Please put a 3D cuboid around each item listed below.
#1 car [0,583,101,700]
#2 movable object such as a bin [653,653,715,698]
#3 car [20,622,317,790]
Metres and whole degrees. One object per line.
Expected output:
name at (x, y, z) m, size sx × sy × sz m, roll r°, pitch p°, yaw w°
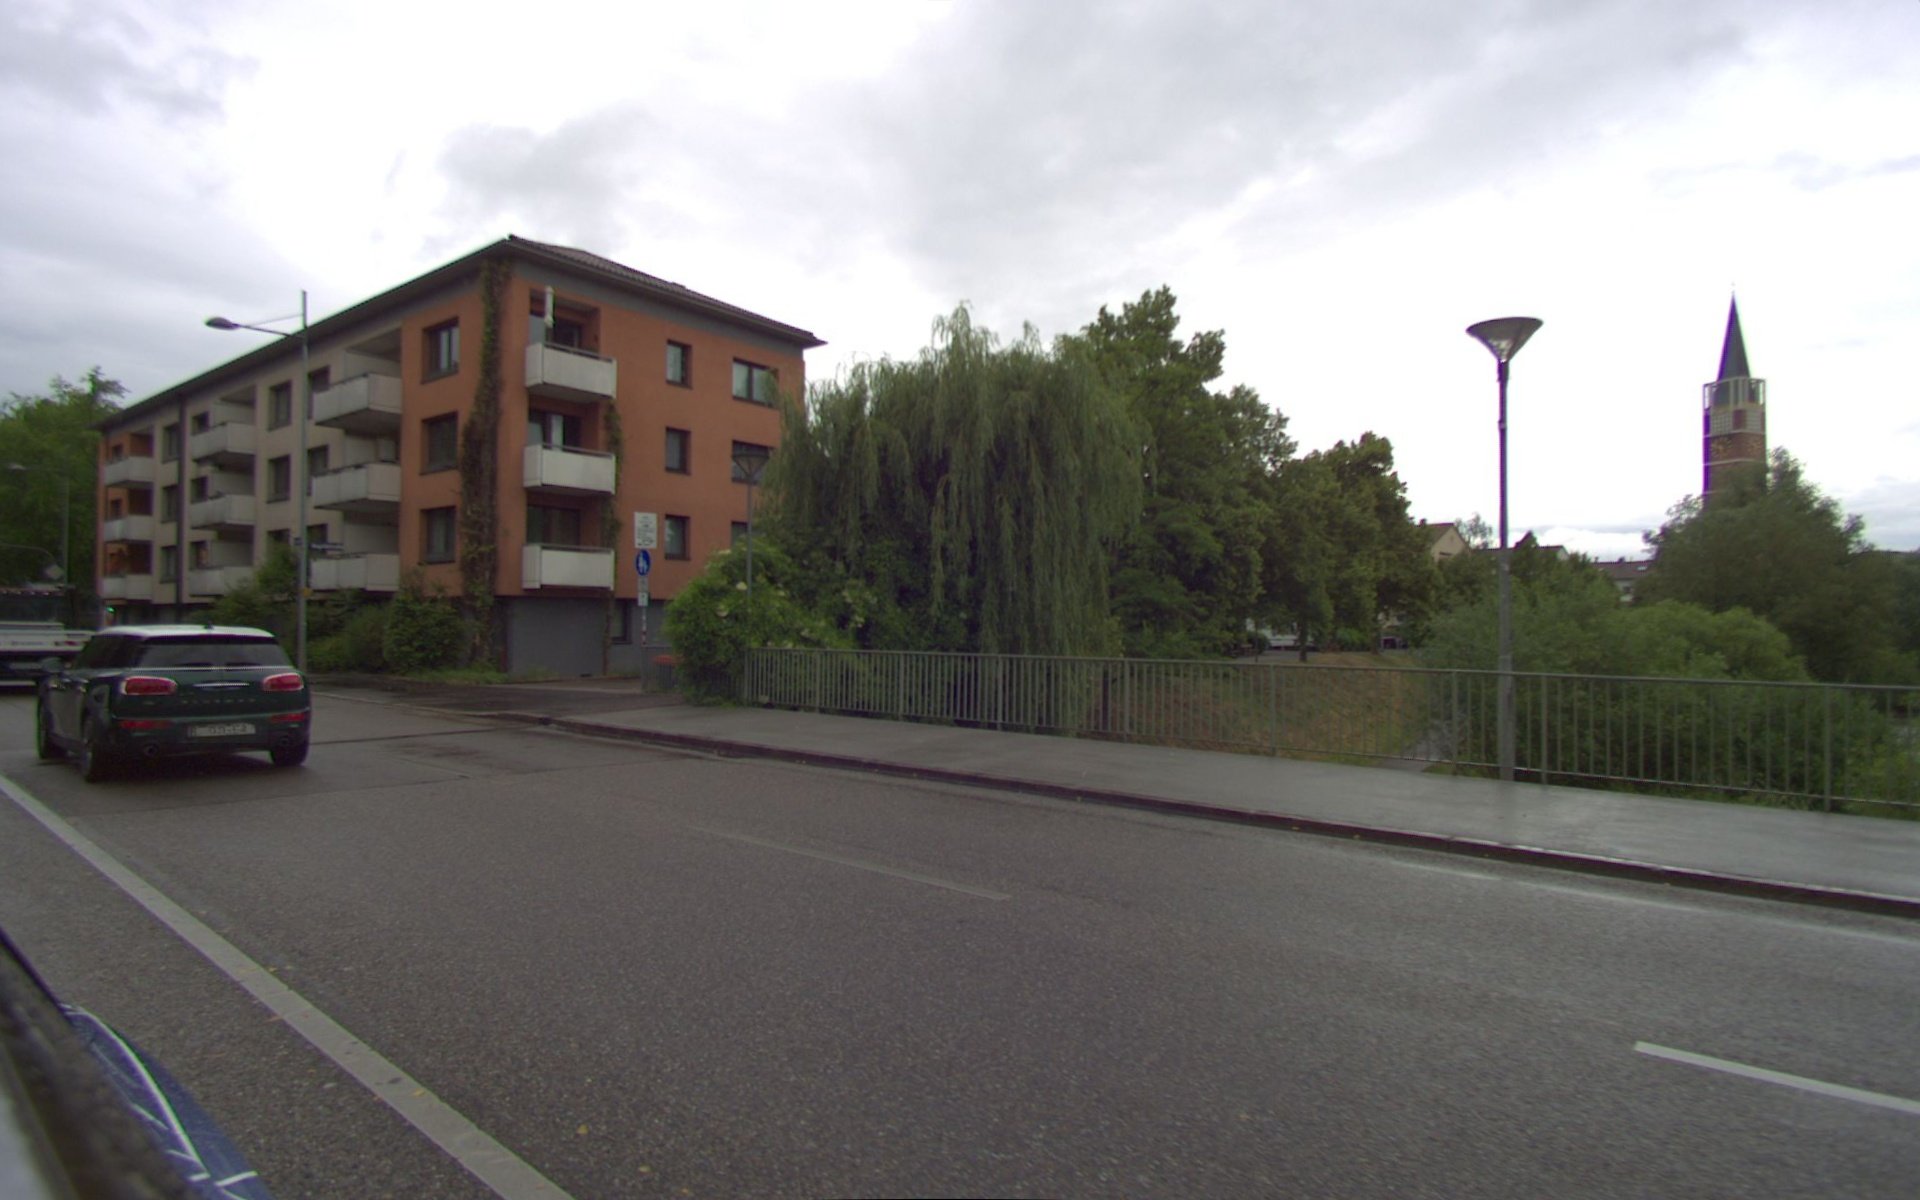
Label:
car at (-21.333, 0.919, 22.546) m, size 6.504 × 2.326 × 2.266 m, roll -2°, pitch -4°, yaw 41°
movable object such as a bin at (-5.867, 1.589, 21.514) m, size 0.832 × 0.883 × 0.956 m, roll -1°, pitch -2°, yaw 41°
car at (-8.472, 0.970, 10.716) m, size 3.998 × 1.450 × 1.727 m, roll -1°, pitch -3°, yaw 41°
